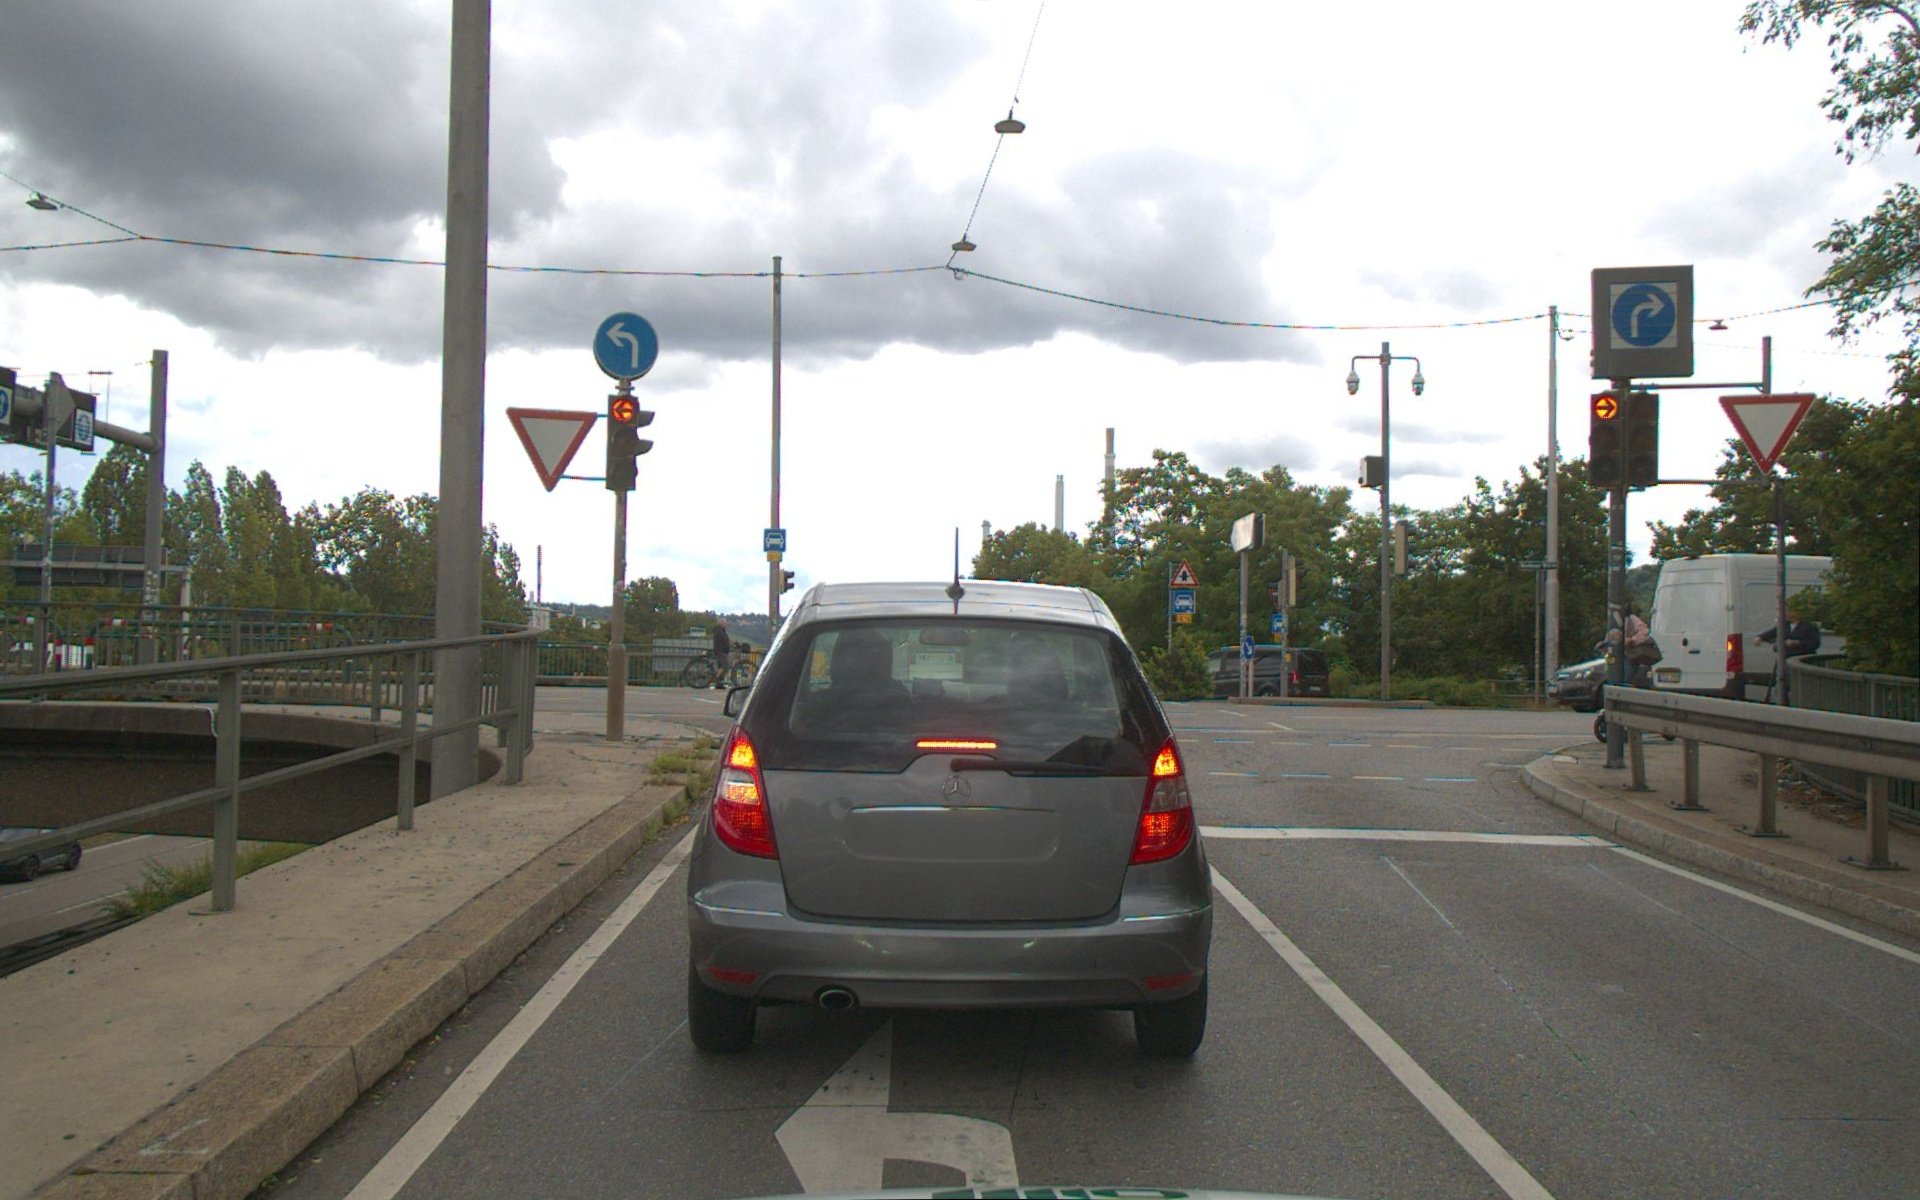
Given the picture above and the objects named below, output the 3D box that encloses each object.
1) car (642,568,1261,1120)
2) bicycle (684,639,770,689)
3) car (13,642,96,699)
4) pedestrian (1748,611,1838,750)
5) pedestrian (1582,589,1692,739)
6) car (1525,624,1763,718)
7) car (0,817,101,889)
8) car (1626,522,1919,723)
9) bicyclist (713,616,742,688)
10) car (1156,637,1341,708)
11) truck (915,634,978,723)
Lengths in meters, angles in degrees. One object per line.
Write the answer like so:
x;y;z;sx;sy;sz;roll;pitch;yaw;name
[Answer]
0.021;0.689;6.880;1.819;1.616;4.001;0;1;1;car
-5.635;1.540;39.935;1.996;1.144;0.927;0;0;-12;bicycle
-38.966;3.013;71.242;1.819;2.254;3.659;0;0;-5;car
10.174;0.960;20.210;0.670;1.647;0.774;0;0;-38;pedestrian
7.888;0.750;19.314;0.816;1.707;0.978;0;-3;-4;pedestrian
13.138;1.331;31.851;3.916;1.694;1.808;0;0;-12;car
-30.341;8.250;54.224;1.953;1.782;4.588;0;-2;-1;car
14.486;0.287;27.231;6.660;2.831;2.104;-4;-2;-20;car
-5.622;1.249;39.948;0.641;1.703;0.867;0;0;-11;bicyclist
8.410;2.071;48.551;5.150;1.802;1.992;1;1;44;car
-0.716;3.534;77.233;2.733;3.580;10.245;0;0;-1;truck
